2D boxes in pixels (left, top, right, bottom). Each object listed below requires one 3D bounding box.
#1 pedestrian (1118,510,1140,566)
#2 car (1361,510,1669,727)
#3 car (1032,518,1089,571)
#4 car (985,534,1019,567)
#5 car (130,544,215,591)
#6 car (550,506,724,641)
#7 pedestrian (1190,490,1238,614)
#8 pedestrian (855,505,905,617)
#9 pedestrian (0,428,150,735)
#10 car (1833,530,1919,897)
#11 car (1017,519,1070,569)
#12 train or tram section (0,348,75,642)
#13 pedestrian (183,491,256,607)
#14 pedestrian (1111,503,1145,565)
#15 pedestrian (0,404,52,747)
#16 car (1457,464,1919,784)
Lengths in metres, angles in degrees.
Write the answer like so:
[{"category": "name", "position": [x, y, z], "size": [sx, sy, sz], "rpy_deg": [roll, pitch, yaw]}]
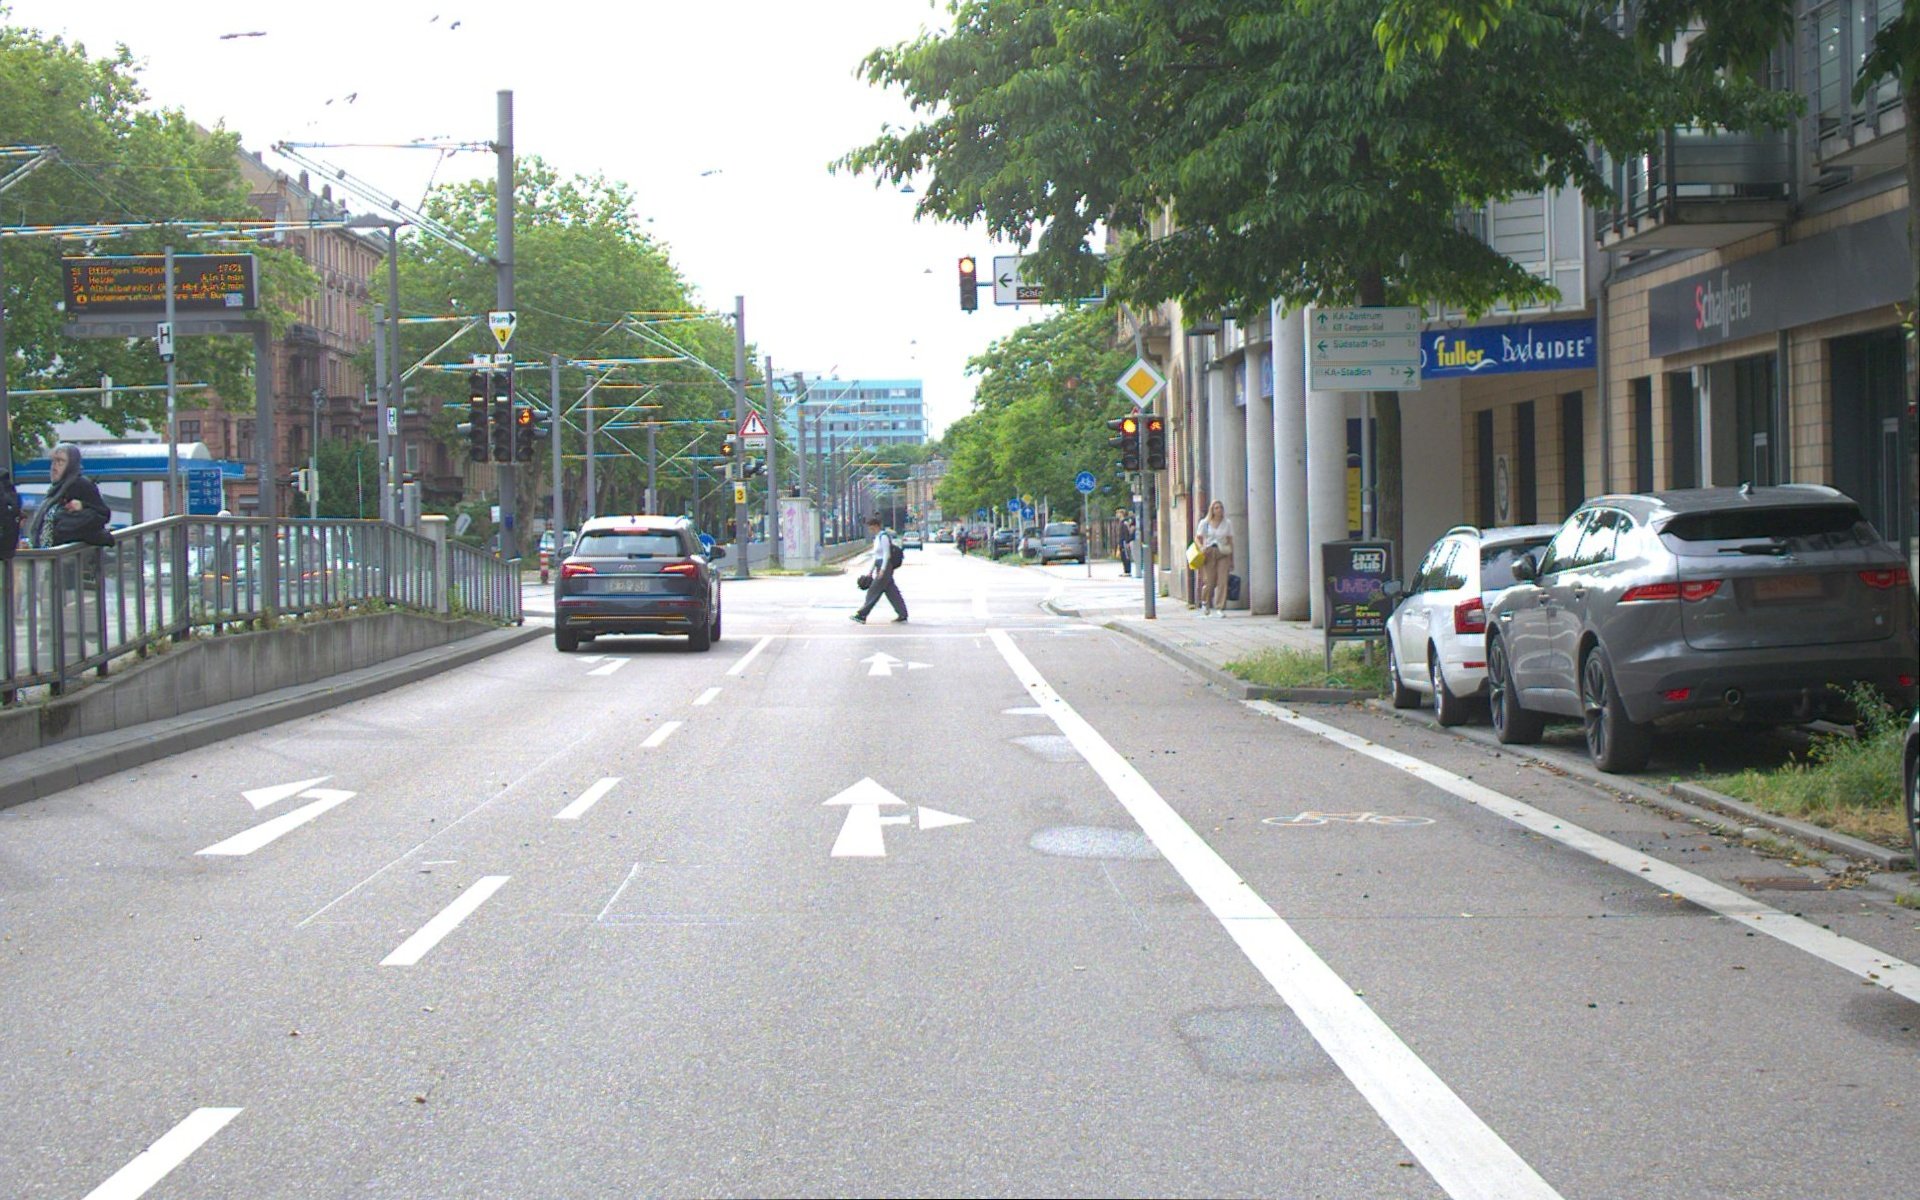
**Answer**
[{"category": "pedestrian", "position": [4.658, -1.696, 94.739], "size": [0.545, 1.531, 0.466], "rpy_deg": [1, 1, -5]}, {"category": "car", "position": [4.299, 0.093, 27.235], "size": [1.676, 1.493, 4.390], "rpy_deg": [-3, 1, 0]}, {"category": "car", "position": [3.860, -2.138, 132.311], "size": [1.993, 2.007, 4.000], "rpy_deg": [1, 1, -1]}, {"category": "car", "position": [2.601, -3.090, 214.145], "size": [1.993, 2.007, 4.000], "rpy_deg": [1, 1, -1]}, {"category": "car", "position": [-23.091, -0.973, 100.945], "size": [1.634, 1.321, 4.000], "rpy_deg": [1, 1, -1]}, {"category": "car", "position": [-3.974, -0.350, 42.862], "size": [1.880, 1.596, 4.358], "rpy_deg": [0, 1, -2]}, {"category": "pedestrian", "position": [3.753, -0.711, 50.864], "size": [0.615, 1.799, 0.737], "rpy_deg": [-1, 1, 1]}, {"category": "pedestrian", "position": [-1.191, -0.591, 51.416], "size": [0.728, 1.656, 0.756], "rpy_deg": [1, 1, -1]}, {"category": "pedestrian", "position": [-5.961, -0.128, 23.030], "size": [0.753, 2.007, 0.818], "rpy_deg": [0, 1, -38]}, {"category": "car", "position": [4.592, 0.435, 12.470], "size": [1.676, 1.437, 4.408], "rpy_deg": [-3, 1, 0]}, {"category": "car", "position": [3.433, -2.312, 141.743], "size": [1.993, 2.007, 4.000], "rpy_deg": [1, 1, -1]}, {"category": "train or tram section", "position": [-13.135, -1.217, 37.599], "size": [3.060, 3.576, 15.850], "rpy_deg": [1, 1, -1]}, {"category": "pedestrian", "position": [-11.453, -0.791, 53.170], "size": [0.917, 1.778, 0.646], "rpy_deg": [1, 1, 37]}, {"category": "pedestrian", "position": [4.531, -1.770, 92.650], "size": [0.850, 1.648, 0.508], "rpy_deg": [1, 1, -3]}, {"category": "pedestrian", "position": [-5.931, -0.148, 20.285], "size": [0.753, 2.007, 0.817], "rpy_deg": [1, 1, 22]}, {"category": "car", "position": [4.471, 0.096, 21.727], "size": [1.711, 1.711, 4.712], "rpy_deg": [-3, 1, -2]}]
